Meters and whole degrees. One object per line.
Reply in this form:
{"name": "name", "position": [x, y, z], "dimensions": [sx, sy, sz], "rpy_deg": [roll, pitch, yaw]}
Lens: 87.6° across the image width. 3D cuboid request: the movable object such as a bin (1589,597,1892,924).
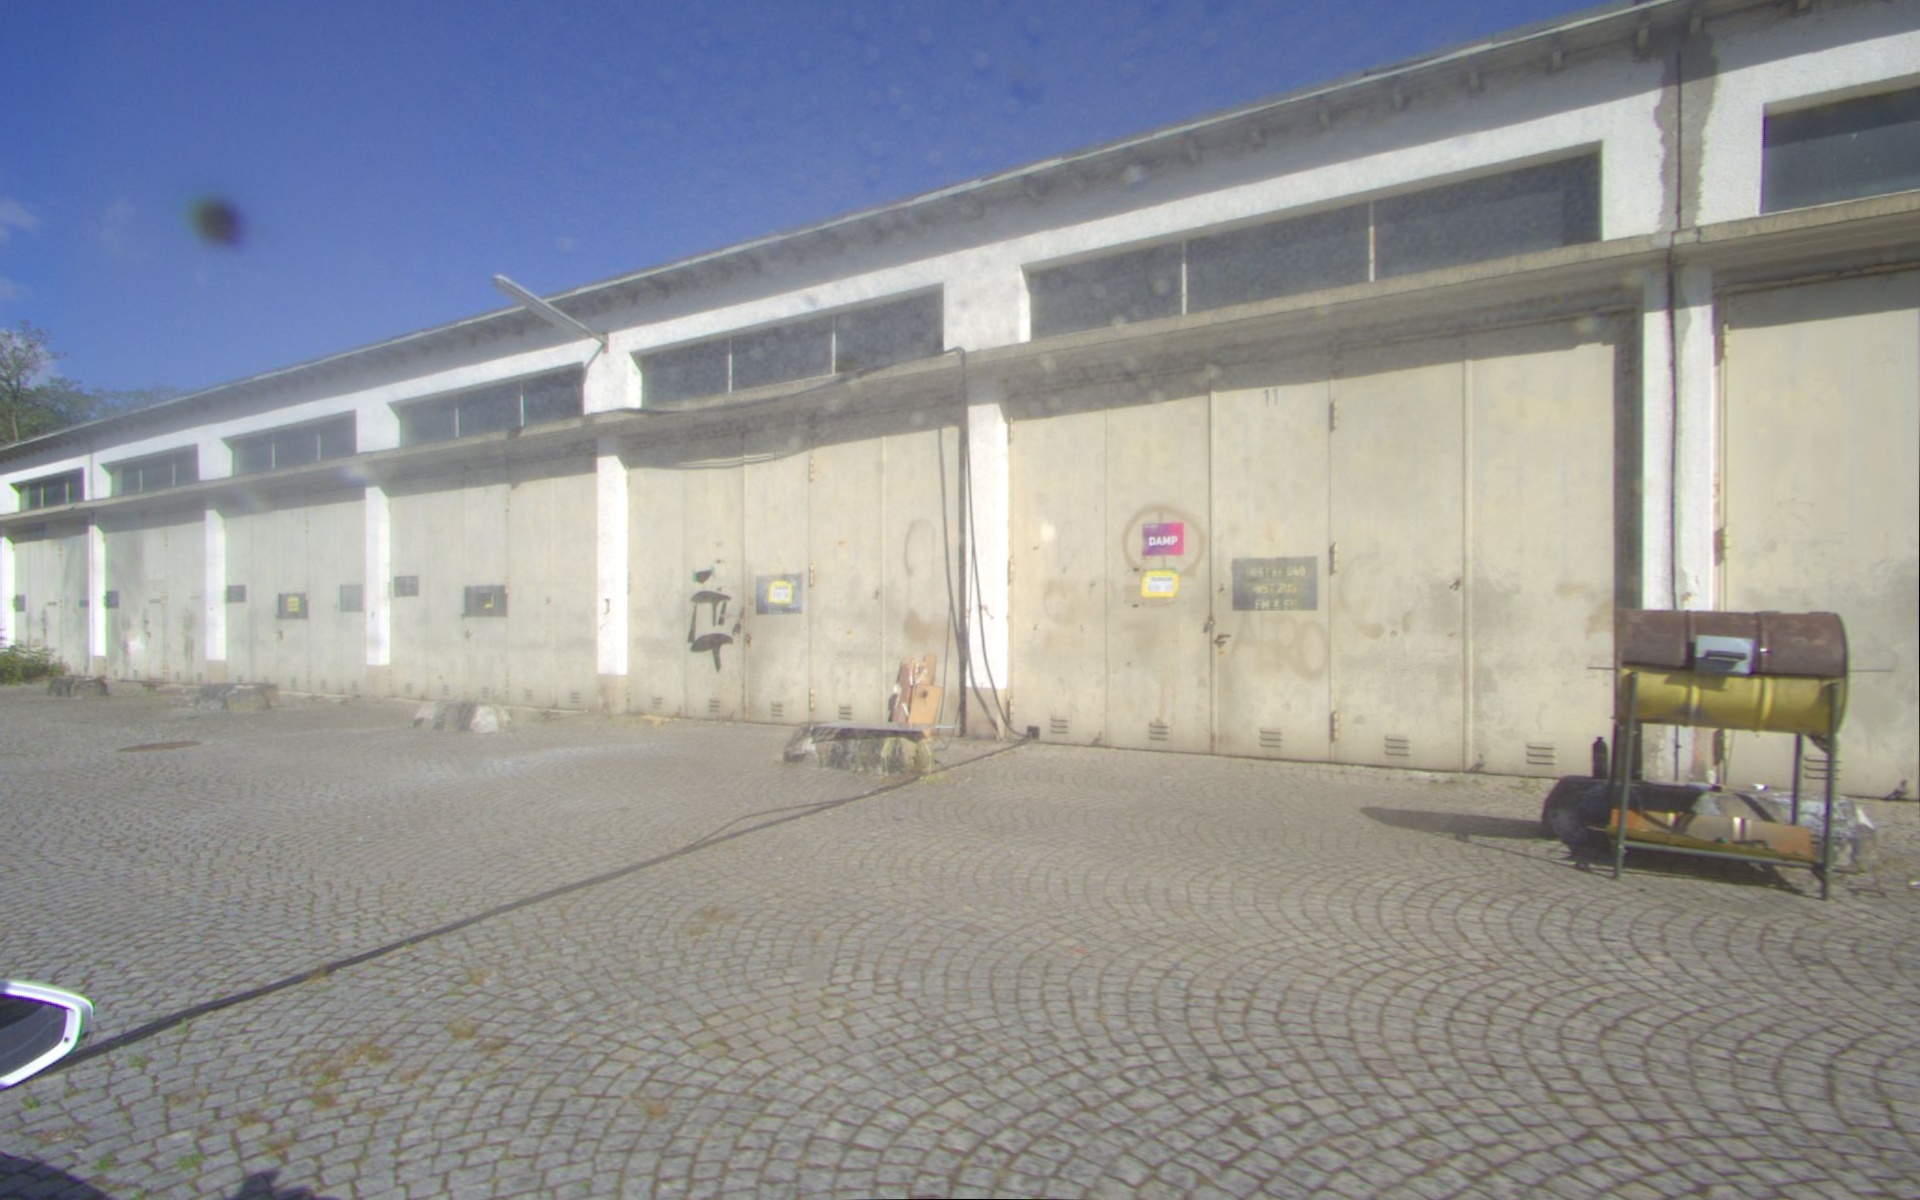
{"name": "movable object such as a bin", "position": [3.805, 0.711, 5.010], "dimensions": [1.085, 1.419, 0.874], "rpy_deg": [0, -1, 31]}
